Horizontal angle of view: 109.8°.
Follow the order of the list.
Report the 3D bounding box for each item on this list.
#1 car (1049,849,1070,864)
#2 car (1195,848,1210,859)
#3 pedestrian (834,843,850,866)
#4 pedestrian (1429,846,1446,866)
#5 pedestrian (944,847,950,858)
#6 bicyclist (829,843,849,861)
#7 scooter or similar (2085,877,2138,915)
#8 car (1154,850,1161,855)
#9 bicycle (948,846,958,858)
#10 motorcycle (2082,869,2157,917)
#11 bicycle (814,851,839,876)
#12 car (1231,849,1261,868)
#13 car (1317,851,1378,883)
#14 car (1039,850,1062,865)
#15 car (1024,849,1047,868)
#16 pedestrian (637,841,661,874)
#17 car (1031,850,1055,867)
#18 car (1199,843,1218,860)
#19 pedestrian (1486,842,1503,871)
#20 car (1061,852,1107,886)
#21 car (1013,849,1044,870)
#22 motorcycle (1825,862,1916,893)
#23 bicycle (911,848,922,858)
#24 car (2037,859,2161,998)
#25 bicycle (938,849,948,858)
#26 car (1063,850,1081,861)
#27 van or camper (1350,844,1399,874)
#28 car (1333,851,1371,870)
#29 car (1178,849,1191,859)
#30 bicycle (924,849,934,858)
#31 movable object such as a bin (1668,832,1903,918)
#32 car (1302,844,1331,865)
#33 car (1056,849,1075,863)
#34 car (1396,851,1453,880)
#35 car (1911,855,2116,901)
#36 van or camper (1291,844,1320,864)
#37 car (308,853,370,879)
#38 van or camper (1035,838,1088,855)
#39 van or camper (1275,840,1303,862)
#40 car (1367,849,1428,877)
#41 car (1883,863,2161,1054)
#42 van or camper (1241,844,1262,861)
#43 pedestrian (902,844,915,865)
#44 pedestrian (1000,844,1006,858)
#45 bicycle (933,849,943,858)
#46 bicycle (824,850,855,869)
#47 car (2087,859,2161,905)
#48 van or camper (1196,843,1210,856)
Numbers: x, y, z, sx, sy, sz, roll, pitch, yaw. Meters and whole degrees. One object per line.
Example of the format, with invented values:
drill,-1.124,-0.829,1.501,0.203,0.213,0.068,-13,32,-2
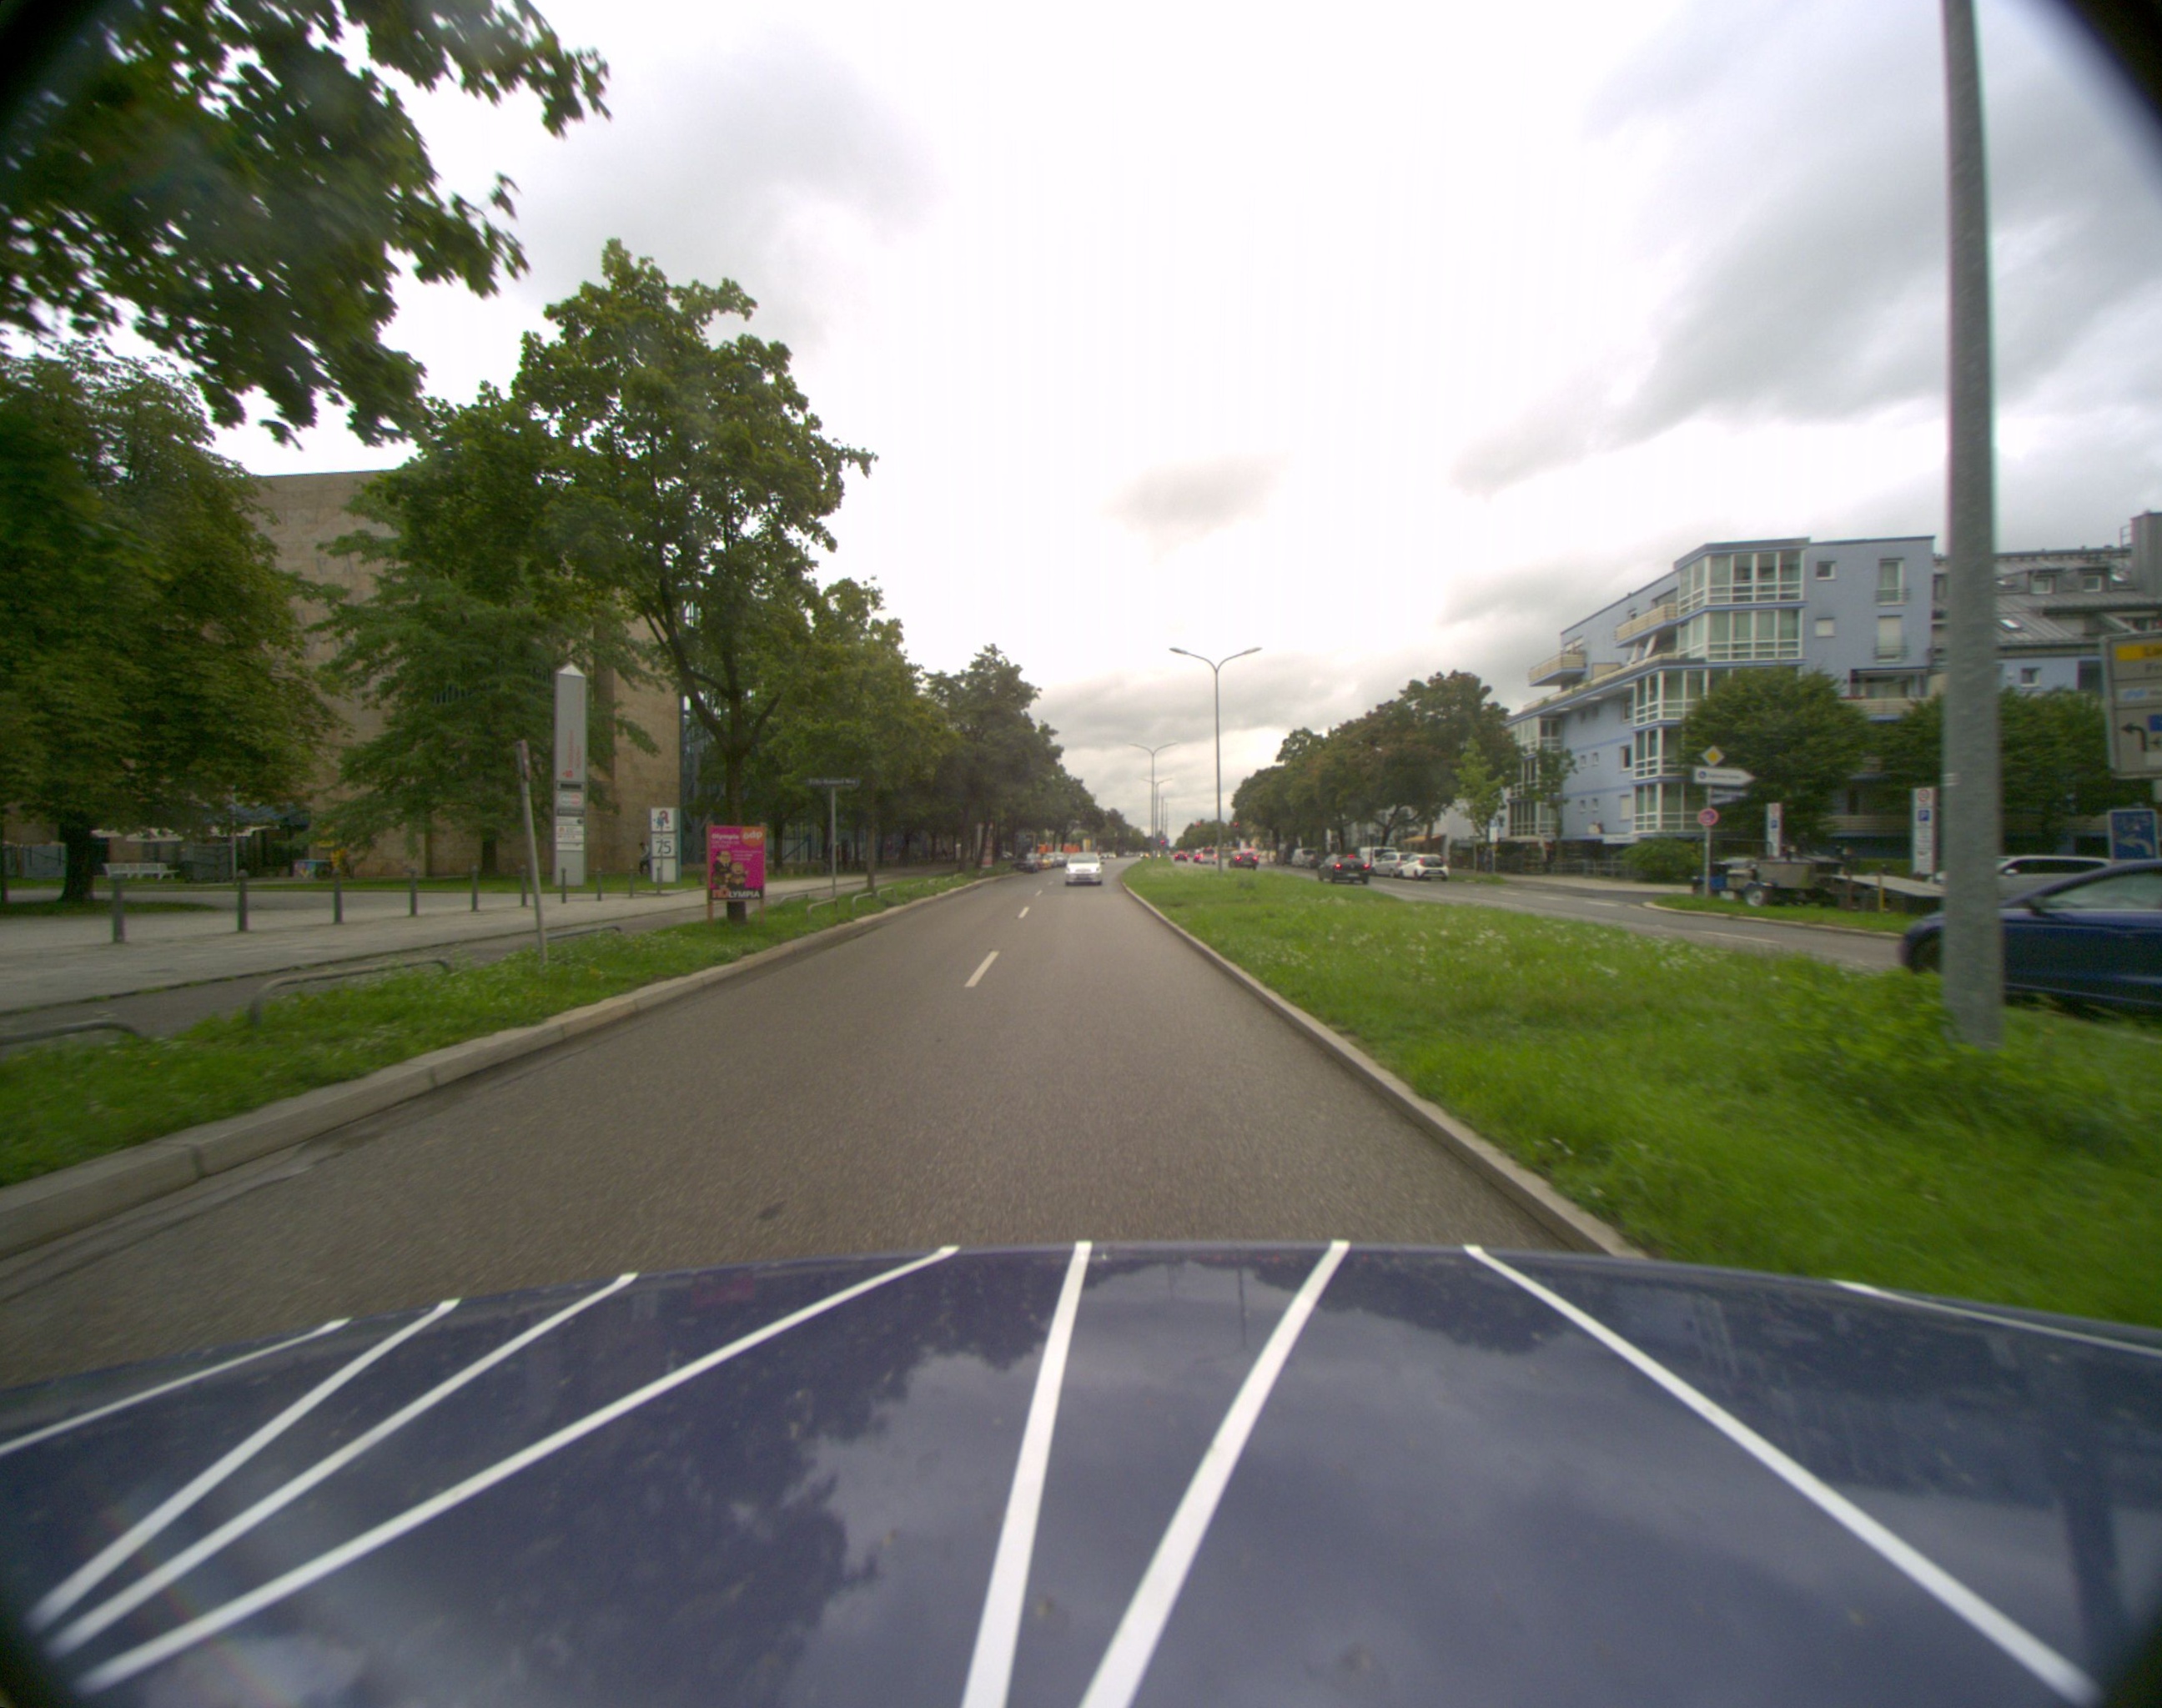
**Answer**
car,-2.241,0.235,79.430,1.682,1.522,4.097,1,1,6
car,16.342,-0.122,102.102,1.795,1.440,3.673,1,1,6
pedestrian,-17.400,0.049,55.307,0.738,1.636,0.863,2,2,12
pedestrian,29.237,0.147,62.250,0.768,1.593,0.973,0,1,-37
pedestrian,-14.260,-0.178,81.012,0.506,1.173,0.426,2,2,5
bicyclist,-15.278,-0.127,47.939,0.725,1.123,0.961,1,1,45
scooter or similar,27.118,1.096,19.999,1.152,0.953,0.442,0,1,-16
car,18.092,-0.354,178.800,1.589,1.259,3.736,1,1,6
bicycle,-13.748,-0.217,81.640,0.512,1.186,2.142,0,1,4
motorcycle,25.593,0.926,18.756,0.418,1.080,1.787,1,1,31
bicycle,-12.745,0.459,38.057,0.622,1.243,1.920,0,1,-1
car,13.595,0.351,62.748,1.961,1.471,4.260,0,1,7
car,12.799,0.586,36.722,1.786,1.397,4.103,0,1,4
car,-2.952,0.326,74.096,1.626,1.466,3.897,1,1,6
car,-3.832,0.355,64.974,1.554,1.564,3.625,0,1,3
pedestrian,-22.006,0.169,38.719,0.571,1.636,0.881,1,1,34
car,-3.413,0.389,69.307,1.626,1.374,4.195,1,1,4
car,15.576,-0.357,92.915,1.943,1.986,4.706,1,1,6
pedestrian,25.753,0.172,47.351,0.643,1.795,0.780,1,1,7
car,0.196,0.633,34.900,1.678,1.434,3.736,1,1,6
car,-4.108,0.398,59.726,1.865,1.581,4.603,0,1,3
motorcycle,31.355,0.895,30.237,0.499,1.126,2.473,0,1,-23
bicycle,-17.318,-0.120,79.919,0.571,0.935,2.064,0,1,4
car,12.402,0.822,7.259,1.695,1.476,3.968,0,1,5
bicycle,-14.775,-0.065,81.572,0.512,0.935,2.142,0,1,4
car,-1.040,0.173,90.073,1.589,1.310,3.736,1,1,6
van or camper,20.237,0.271,52.546,1.808,1.956,5.212,0,1,6
car,20.922,0.467,58.789,1.679,1.386,4.336,0,1,4
car,15.305,0.033,112.687,1.760,1.440,3.673,1,1,6
bicycle,-16.131,-0.083,80.578,0.618,0.935,1.763,0,1,4
movable object such as a bin,17.457,0.464,19.165,2.198,1.941,3.999,0,1,0
car,22.341,0.011,72.319,1.800,1.986,4.548,1,1,6
car,-1.690,0.163,84.597,1.682,1.497,3.736,1,1,6
car,19.099,0.614,42.402,1.651,1.481,3.903,0,1,4
car,35.864,0.886,29.352,5.112,1.673,2.000,0,1,4
van or camper,23.059,-0.039,78.314,2.025,1.931,4.706,1,1,6
car,-32.687,0.517,33.518,0.678,1.008,2.077,0,2,1
van or camper,-4.211,-1.564,163.230,10.901,3.533,3.319,0,1,-13
van or camper,23.981,-0.397,87.776,2.054,2.472,5.550,0,1,5
car,19.559,0.498,47.237,1.703,1.606,4.663,0,1,-2
car,8.979,0.806,5.805,1.695,1.394,3.968,0,1,5
van or camper,21.867,-0.216,97.435,2.020,2.004,5.200,1,1,6
pedestrian,-13.967,0.017,61.518,0.738,1.636,0.645,2,2,12
pedestrian,-9.283,-0.367,90.314,0.528,1.713,0.660,2,2,1
bicycle,-15.316,-0.045,81.536,0.512,0.935,2.142,0,1,4
bicycle,-15.251,0.341,47.983,1.770,1.123,0.725,0,1,-45
car,41.799,1.058,28.854,4.257,1.673,2.000,0,1,4
van or camper,17.757,-0.642,110.818,1.795,1.787,4.126,1,1,6
